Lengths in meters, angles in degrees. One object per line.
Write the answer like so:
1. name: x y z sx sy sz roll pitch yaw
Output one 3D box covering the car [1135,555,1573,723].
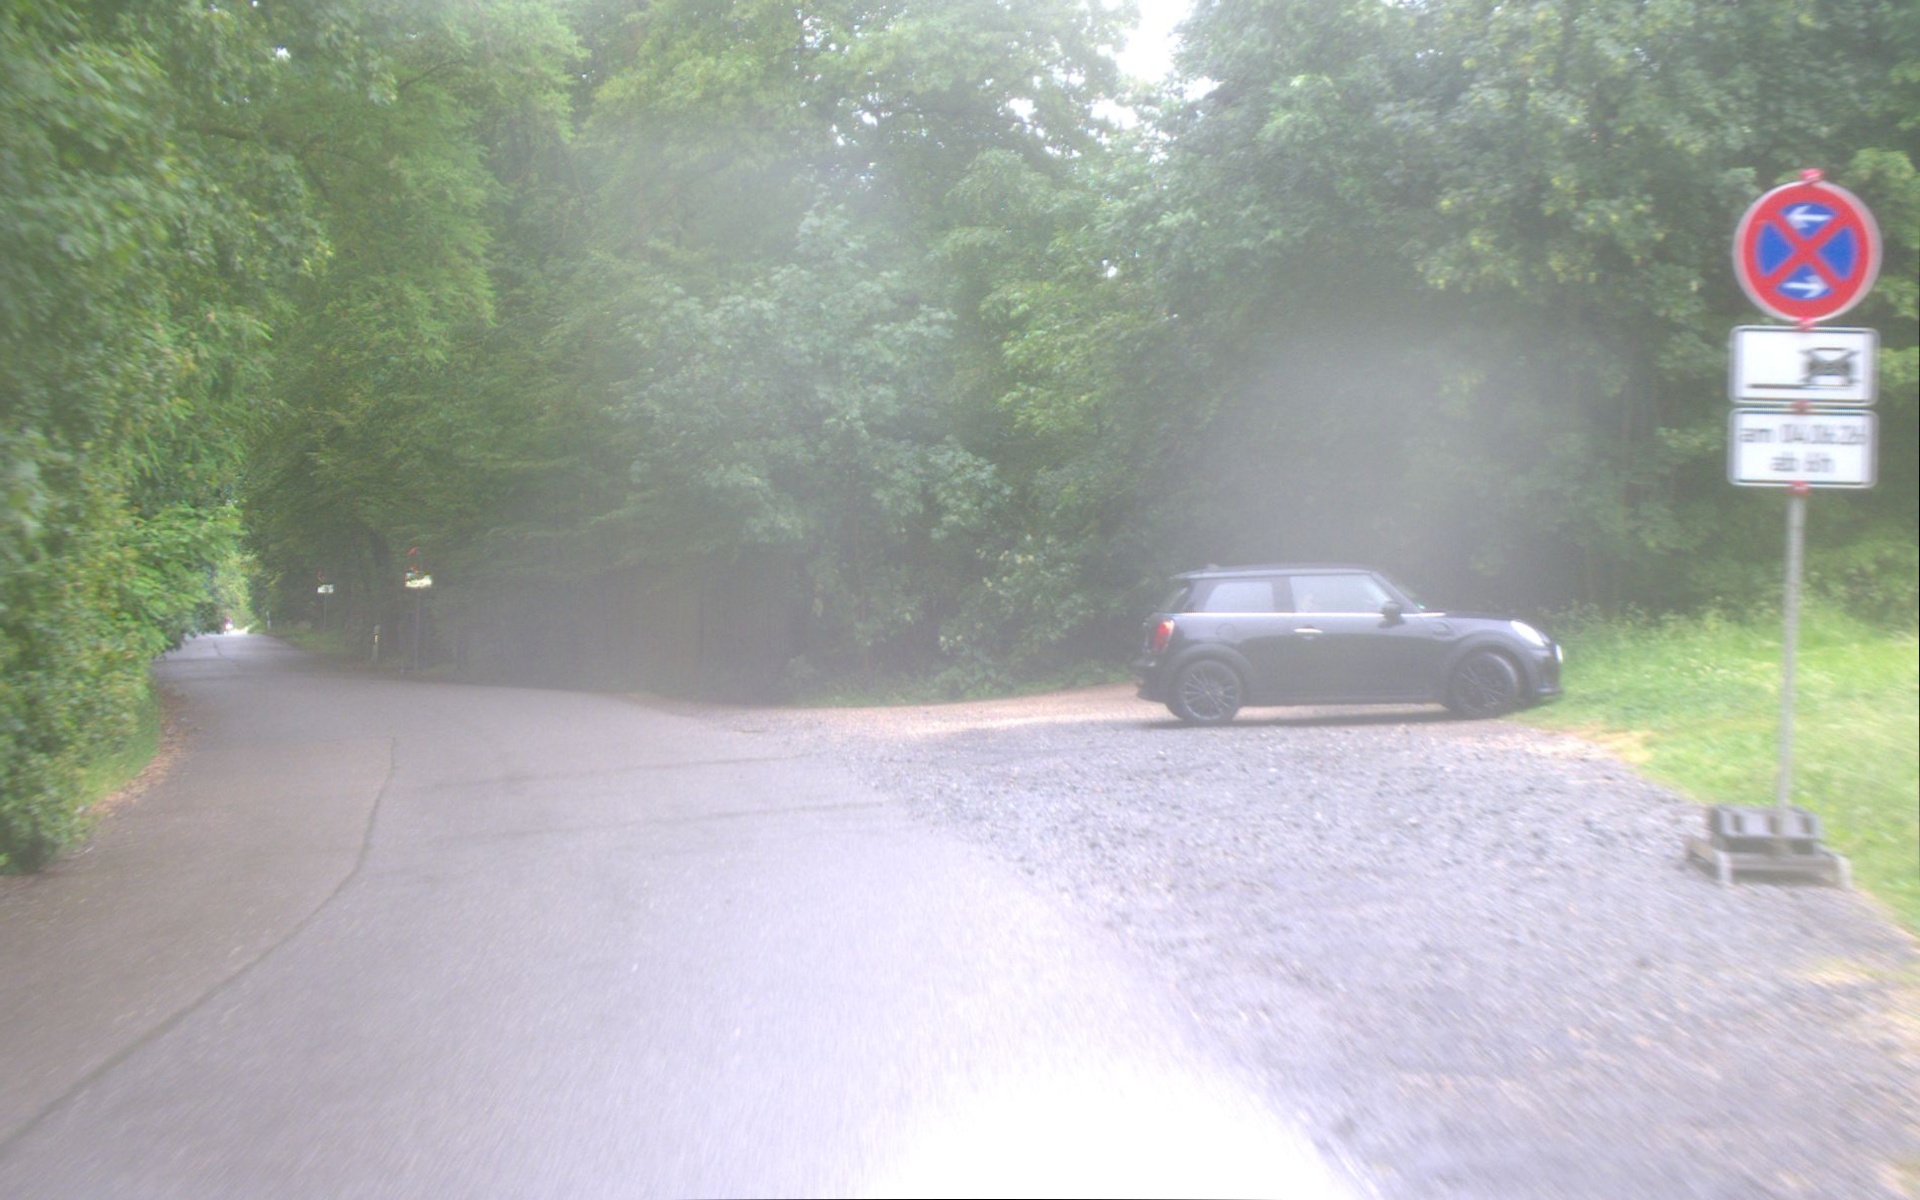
1. car: 3.519 0.345 31.156 3.707 1.431 1.707 -1 0 -2
